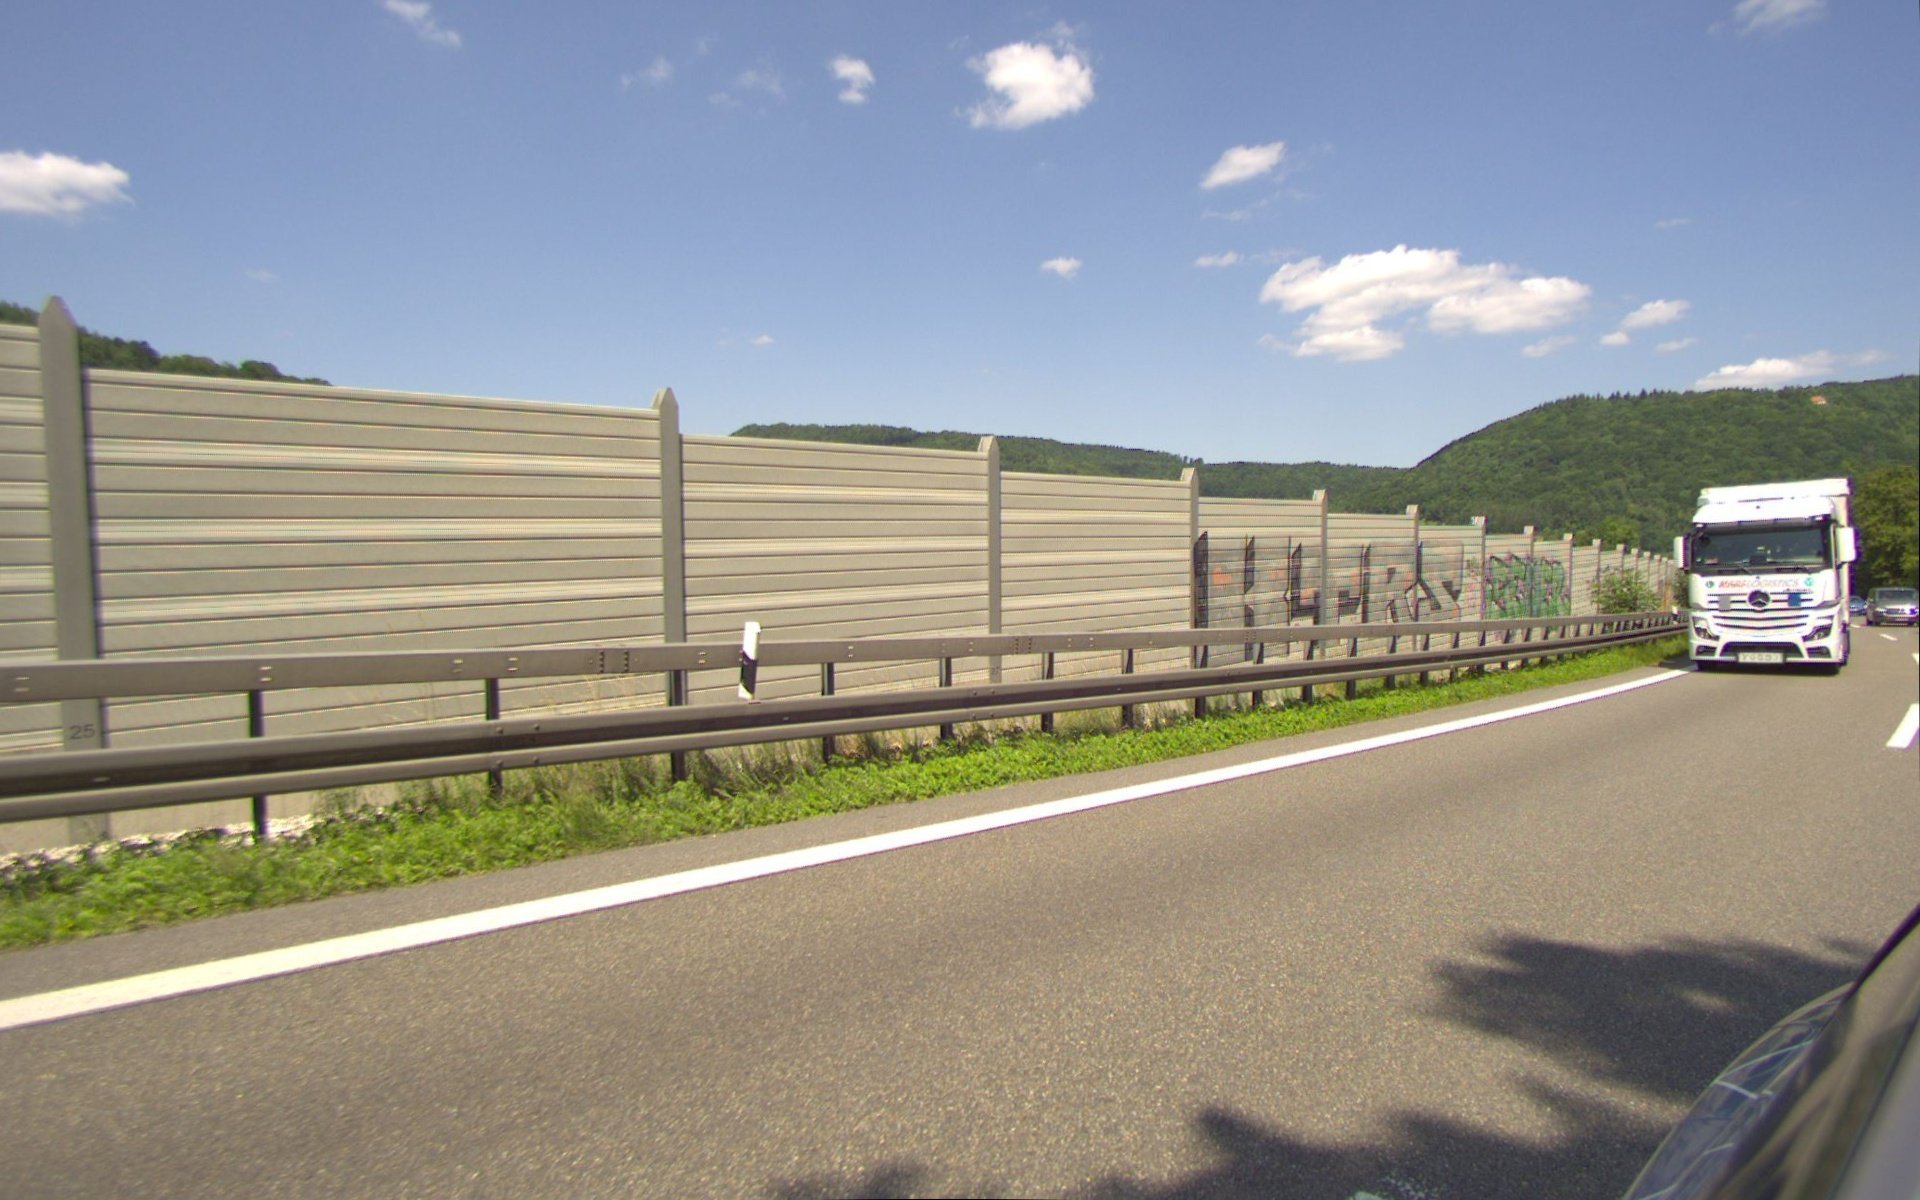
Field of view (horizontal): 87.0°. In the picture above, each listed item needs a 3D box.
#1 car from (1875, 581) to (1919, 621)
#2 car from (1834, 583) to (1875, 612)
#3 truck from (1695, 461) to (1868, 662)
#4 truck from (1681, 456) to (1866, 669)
[{"bbox_3d":[47.393,0.072,50.516,2.032,1.889,3.949,2,0,35],"label":"car"},{"bbox_3d":[65.837,-0.202,74.547,1.990,2.039,3.944,2,2,39],"label":"car"},{"bbox_3d":[21.763,-0.797,26.464,2.852,4.201,11.863,-1,-1,42],"label":"truck"},{"bbox_3d":[18.462,-0.746,22.791,2.757,4.089,6.717,0,0,43],"label":"truck"}]
